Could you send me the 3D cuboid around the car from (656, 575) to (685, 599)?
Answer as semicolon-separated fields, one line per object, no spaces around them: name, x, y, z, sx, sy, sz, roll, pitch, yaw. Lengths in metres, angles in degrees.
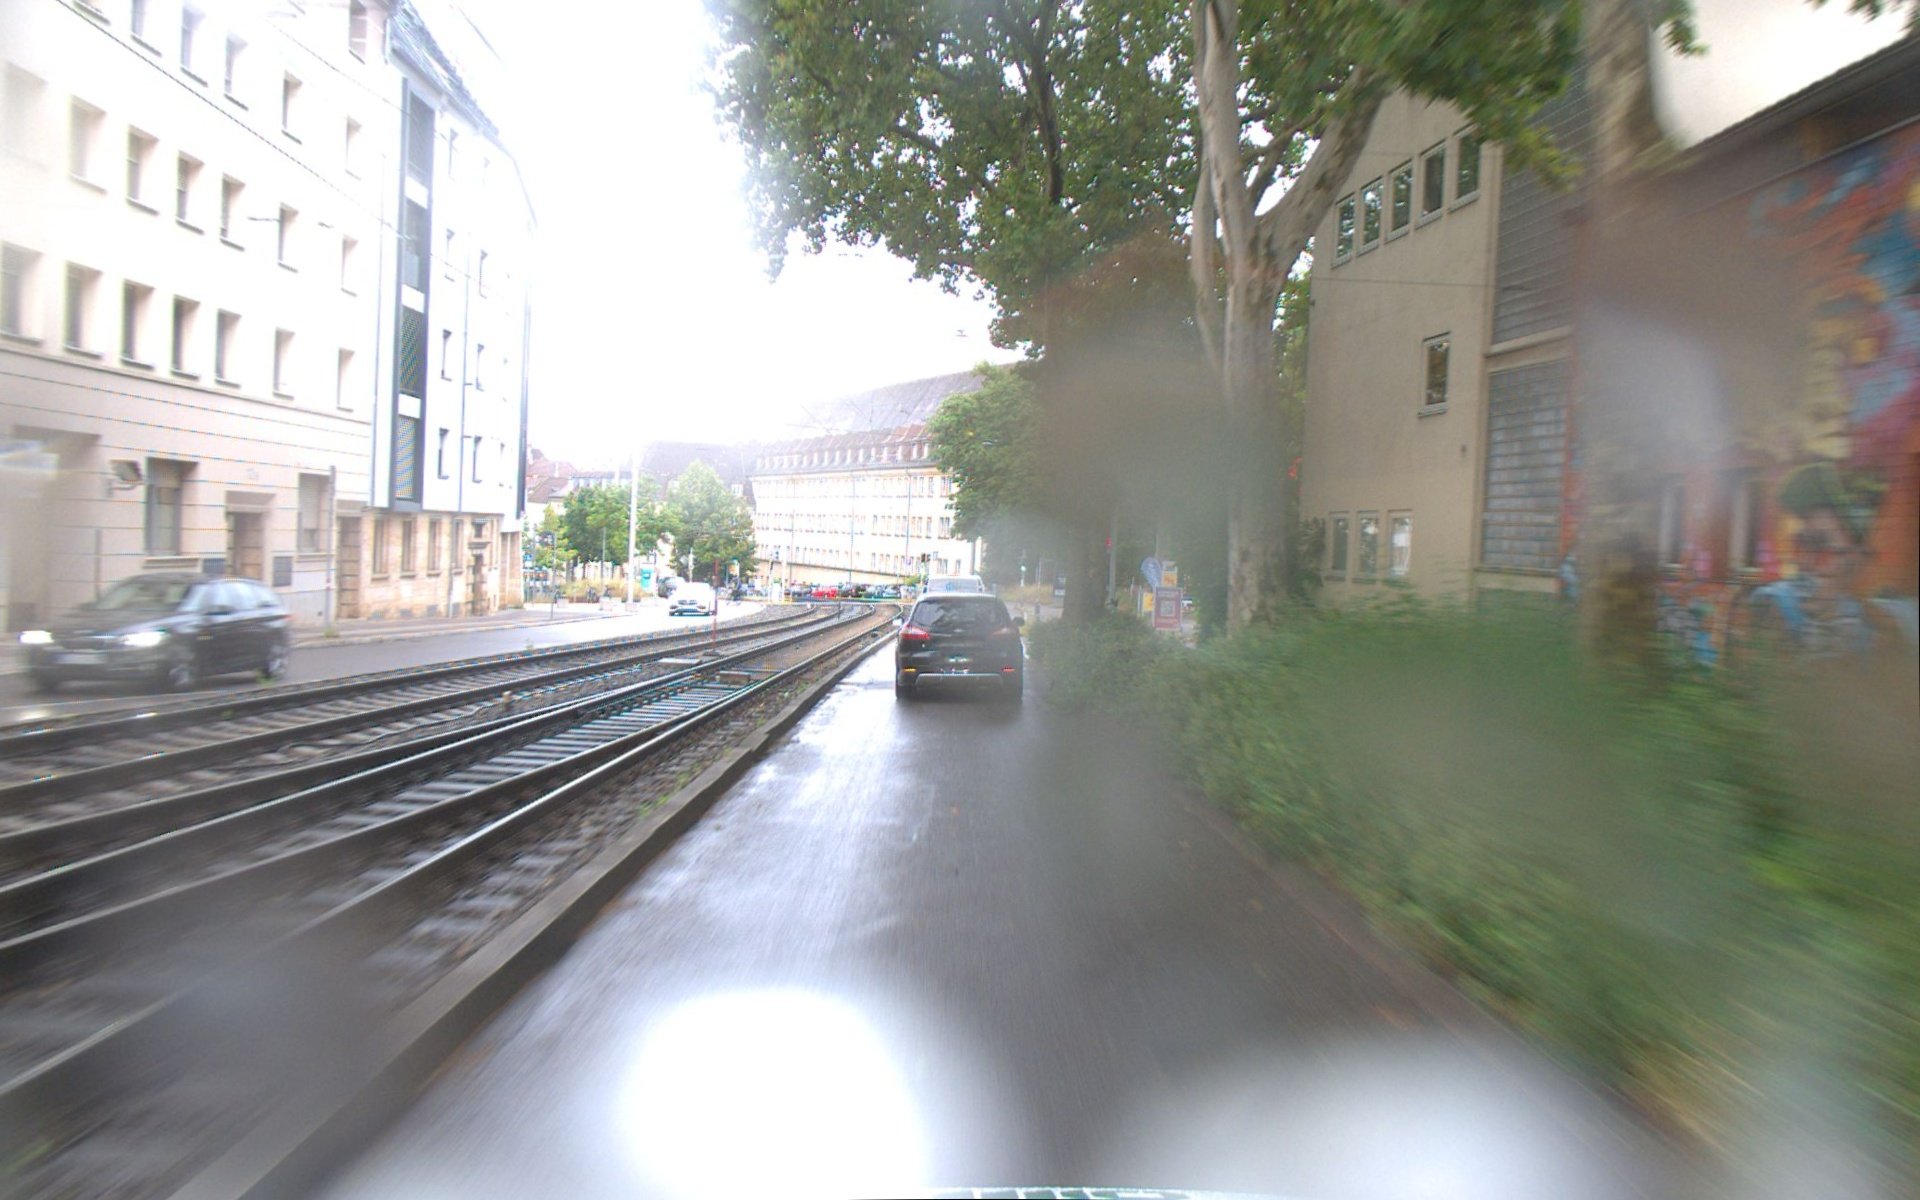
car;-20.188;-0.912;115.276;1.957;1.569;3.990;2;0;-10

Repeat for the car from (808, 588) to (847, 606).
car;-12.652;-0.318;157.661;1.978;1.569;3.948;2;0;-37

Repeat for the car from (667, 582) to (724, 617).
car;-11.950;-0.030;75.008;1.762;1.508;4.840;2;0;0

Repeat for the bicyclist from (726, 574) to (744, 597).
bicyclist;-13.115;-0.847;96.314;0.766;1.336;0.780;0;1;-38

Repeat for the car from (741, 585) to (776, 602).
car;-20.676;-0.689;169.510;1.976;1.569;3.954;2;0;-34

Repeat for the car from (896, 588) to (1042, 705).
car;0.052;0.611;24.156;1.894;1.478;4.316;3;0;-2

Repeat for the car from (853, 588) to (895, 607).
car;-7.744;-0.238;148.219;1.977;1.569;3.951;2;0;-35

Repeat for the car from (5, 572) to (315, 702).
car;-10.558;0.405;22.295;1.842;1.512;4.853;2;1;-1

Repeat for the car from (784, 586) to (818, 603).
car;-15.613;-0.569;162.067;1.971;1.569;3.964;0;1;-28

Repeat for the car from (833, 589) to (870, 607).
car;-10.089;-0.225;153.247;1.567;1.569;3.951;2;0;-35

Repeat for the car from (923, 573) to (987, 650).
car;-0.134;0.310;47.528;1.705;2.049;3.904;2;0;0

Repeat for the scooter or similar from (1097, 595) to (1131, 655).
scooter or similar;3.312;0.555;35.571;0.365;1.256;1.371;0;-2;21

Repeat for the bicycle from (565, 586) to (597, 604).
bicycle;-23.144;-0.318;101.043;1.777;1.079;0.570;2;0;-4

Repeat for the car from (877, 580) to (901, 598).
car;-6.221;-0.979;144.560;1.627;1.502;3.636;2;0;-10
